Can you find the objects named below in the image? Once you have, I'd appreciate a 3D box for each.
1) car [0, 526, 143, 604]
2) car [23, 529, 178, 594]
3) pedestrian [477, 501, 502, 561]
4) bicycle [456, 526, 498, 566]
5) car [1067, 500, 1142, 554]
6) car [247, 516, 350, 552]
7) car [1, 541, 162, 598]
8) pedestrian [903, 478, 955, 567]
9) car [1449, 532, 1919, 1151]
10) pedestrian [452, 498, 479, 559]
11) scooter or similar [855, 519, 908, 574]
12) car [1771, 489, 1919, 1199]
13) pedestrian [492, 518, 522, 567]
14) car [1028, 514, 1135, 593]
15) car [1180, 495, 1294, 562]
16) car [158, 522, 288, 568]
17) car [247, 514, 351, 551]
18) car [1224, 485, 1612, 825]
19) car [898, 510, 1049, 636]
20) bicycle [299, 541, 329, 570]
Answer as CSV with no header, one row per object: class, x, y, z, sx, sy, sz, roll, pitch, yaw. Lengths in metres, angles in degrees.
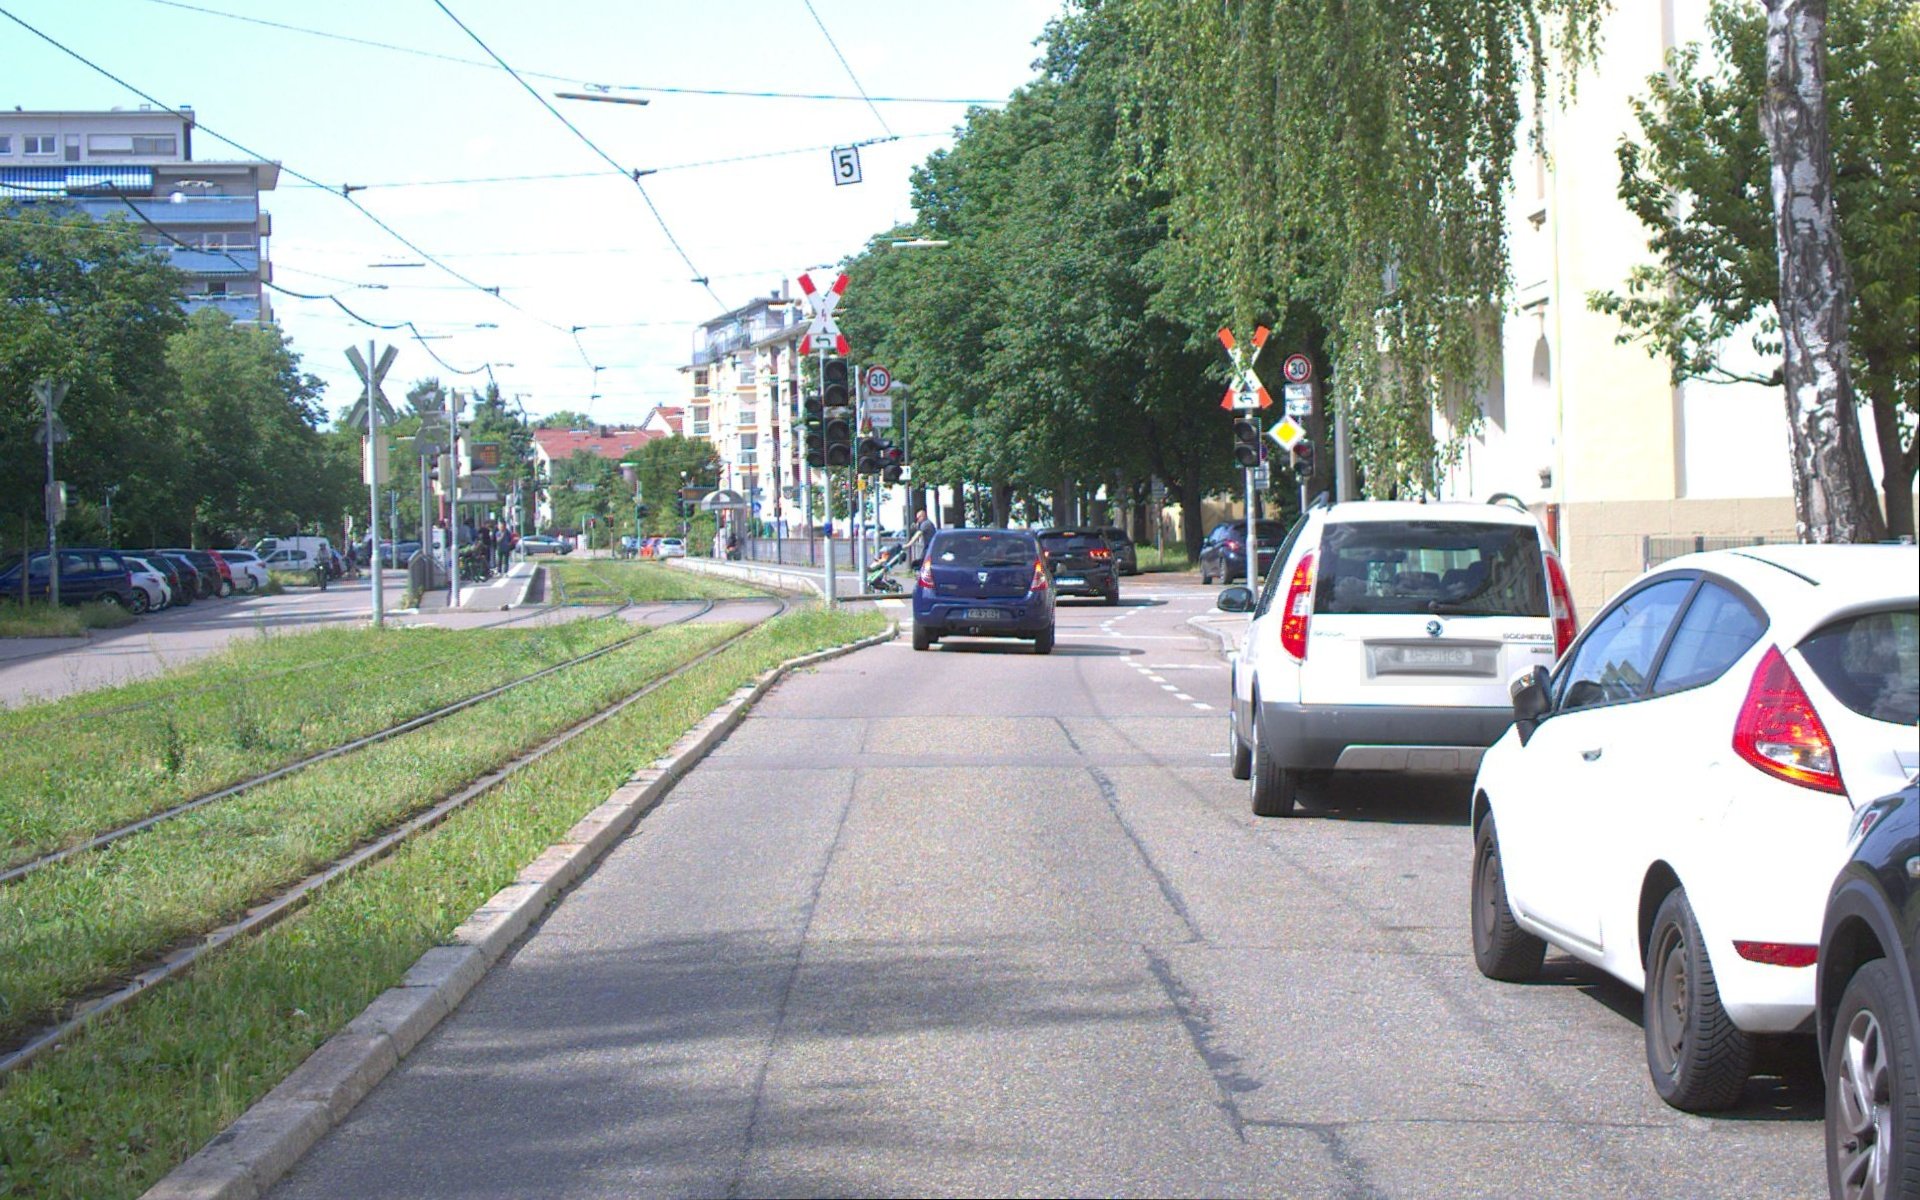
car,-20.528,-0.780,76.748,1.724,1.635,4.122,0,2,45
car,-21.406,-0.973,85.697,3.380,1.500,1.543,-3,2,-43
pedestrian,-14.082,-2.071,102.900,0.604,1.760,0.639,-1,1,3
bicycle,-12.754,-1.427,90.744,0.686,0.971,1.771,-4,2,4
car,4.120,-2.103,98.340,1.861,1.440,4.000,-3,2,-1
car,-27.134,-2.726,141.148,1.638,1.381,3.991,0,2,39
car,-21.038,-0.739,82.391,1.543,1.232,3.380,0,2,45
pedestrian,-0.644,-1.588,70.546,0.870,1.769,1.004,-4,1,-5
car,2.569,0.543,9.942,1.672,1.412,3.796,1,1,-1
pedestrian,-14.021,-2.035,97.435,0.655,1.686,0.656,-2,1,-5
scooter or similar,-1.609,-1.105,70.243,0.954,1.061,0.797,-3,2,-6
car,2.486,0.627,5.230,1.493,1.574,3.759,1,2,-2
pedestrian,-13.630,-1.727,103.434,0.655,1.421,0.562,-1,2,31
car,2.221,-0.872,63.654,1.700,1.363,3.515,1,2,-2
car,6.246,-1.626,77.856,1.765,1.428,3.905,-2,2,-7
car,-24.858,-1.868,116.045,1.715,1.362,3.990,-1,2,43
car,-28.142,-2.885,146.463,3.989,1.442,1.727,-3,2,-40
car,2.384,0.215,18.763,1.721,1.624,4.000,1,2,2
car,0.190,-0.372,42.767,1.768,1.457,3.776,1,2,1
bicycle,-22.506,-1.555,119.840,0.680,0.967,2.179,-2,2,-2
